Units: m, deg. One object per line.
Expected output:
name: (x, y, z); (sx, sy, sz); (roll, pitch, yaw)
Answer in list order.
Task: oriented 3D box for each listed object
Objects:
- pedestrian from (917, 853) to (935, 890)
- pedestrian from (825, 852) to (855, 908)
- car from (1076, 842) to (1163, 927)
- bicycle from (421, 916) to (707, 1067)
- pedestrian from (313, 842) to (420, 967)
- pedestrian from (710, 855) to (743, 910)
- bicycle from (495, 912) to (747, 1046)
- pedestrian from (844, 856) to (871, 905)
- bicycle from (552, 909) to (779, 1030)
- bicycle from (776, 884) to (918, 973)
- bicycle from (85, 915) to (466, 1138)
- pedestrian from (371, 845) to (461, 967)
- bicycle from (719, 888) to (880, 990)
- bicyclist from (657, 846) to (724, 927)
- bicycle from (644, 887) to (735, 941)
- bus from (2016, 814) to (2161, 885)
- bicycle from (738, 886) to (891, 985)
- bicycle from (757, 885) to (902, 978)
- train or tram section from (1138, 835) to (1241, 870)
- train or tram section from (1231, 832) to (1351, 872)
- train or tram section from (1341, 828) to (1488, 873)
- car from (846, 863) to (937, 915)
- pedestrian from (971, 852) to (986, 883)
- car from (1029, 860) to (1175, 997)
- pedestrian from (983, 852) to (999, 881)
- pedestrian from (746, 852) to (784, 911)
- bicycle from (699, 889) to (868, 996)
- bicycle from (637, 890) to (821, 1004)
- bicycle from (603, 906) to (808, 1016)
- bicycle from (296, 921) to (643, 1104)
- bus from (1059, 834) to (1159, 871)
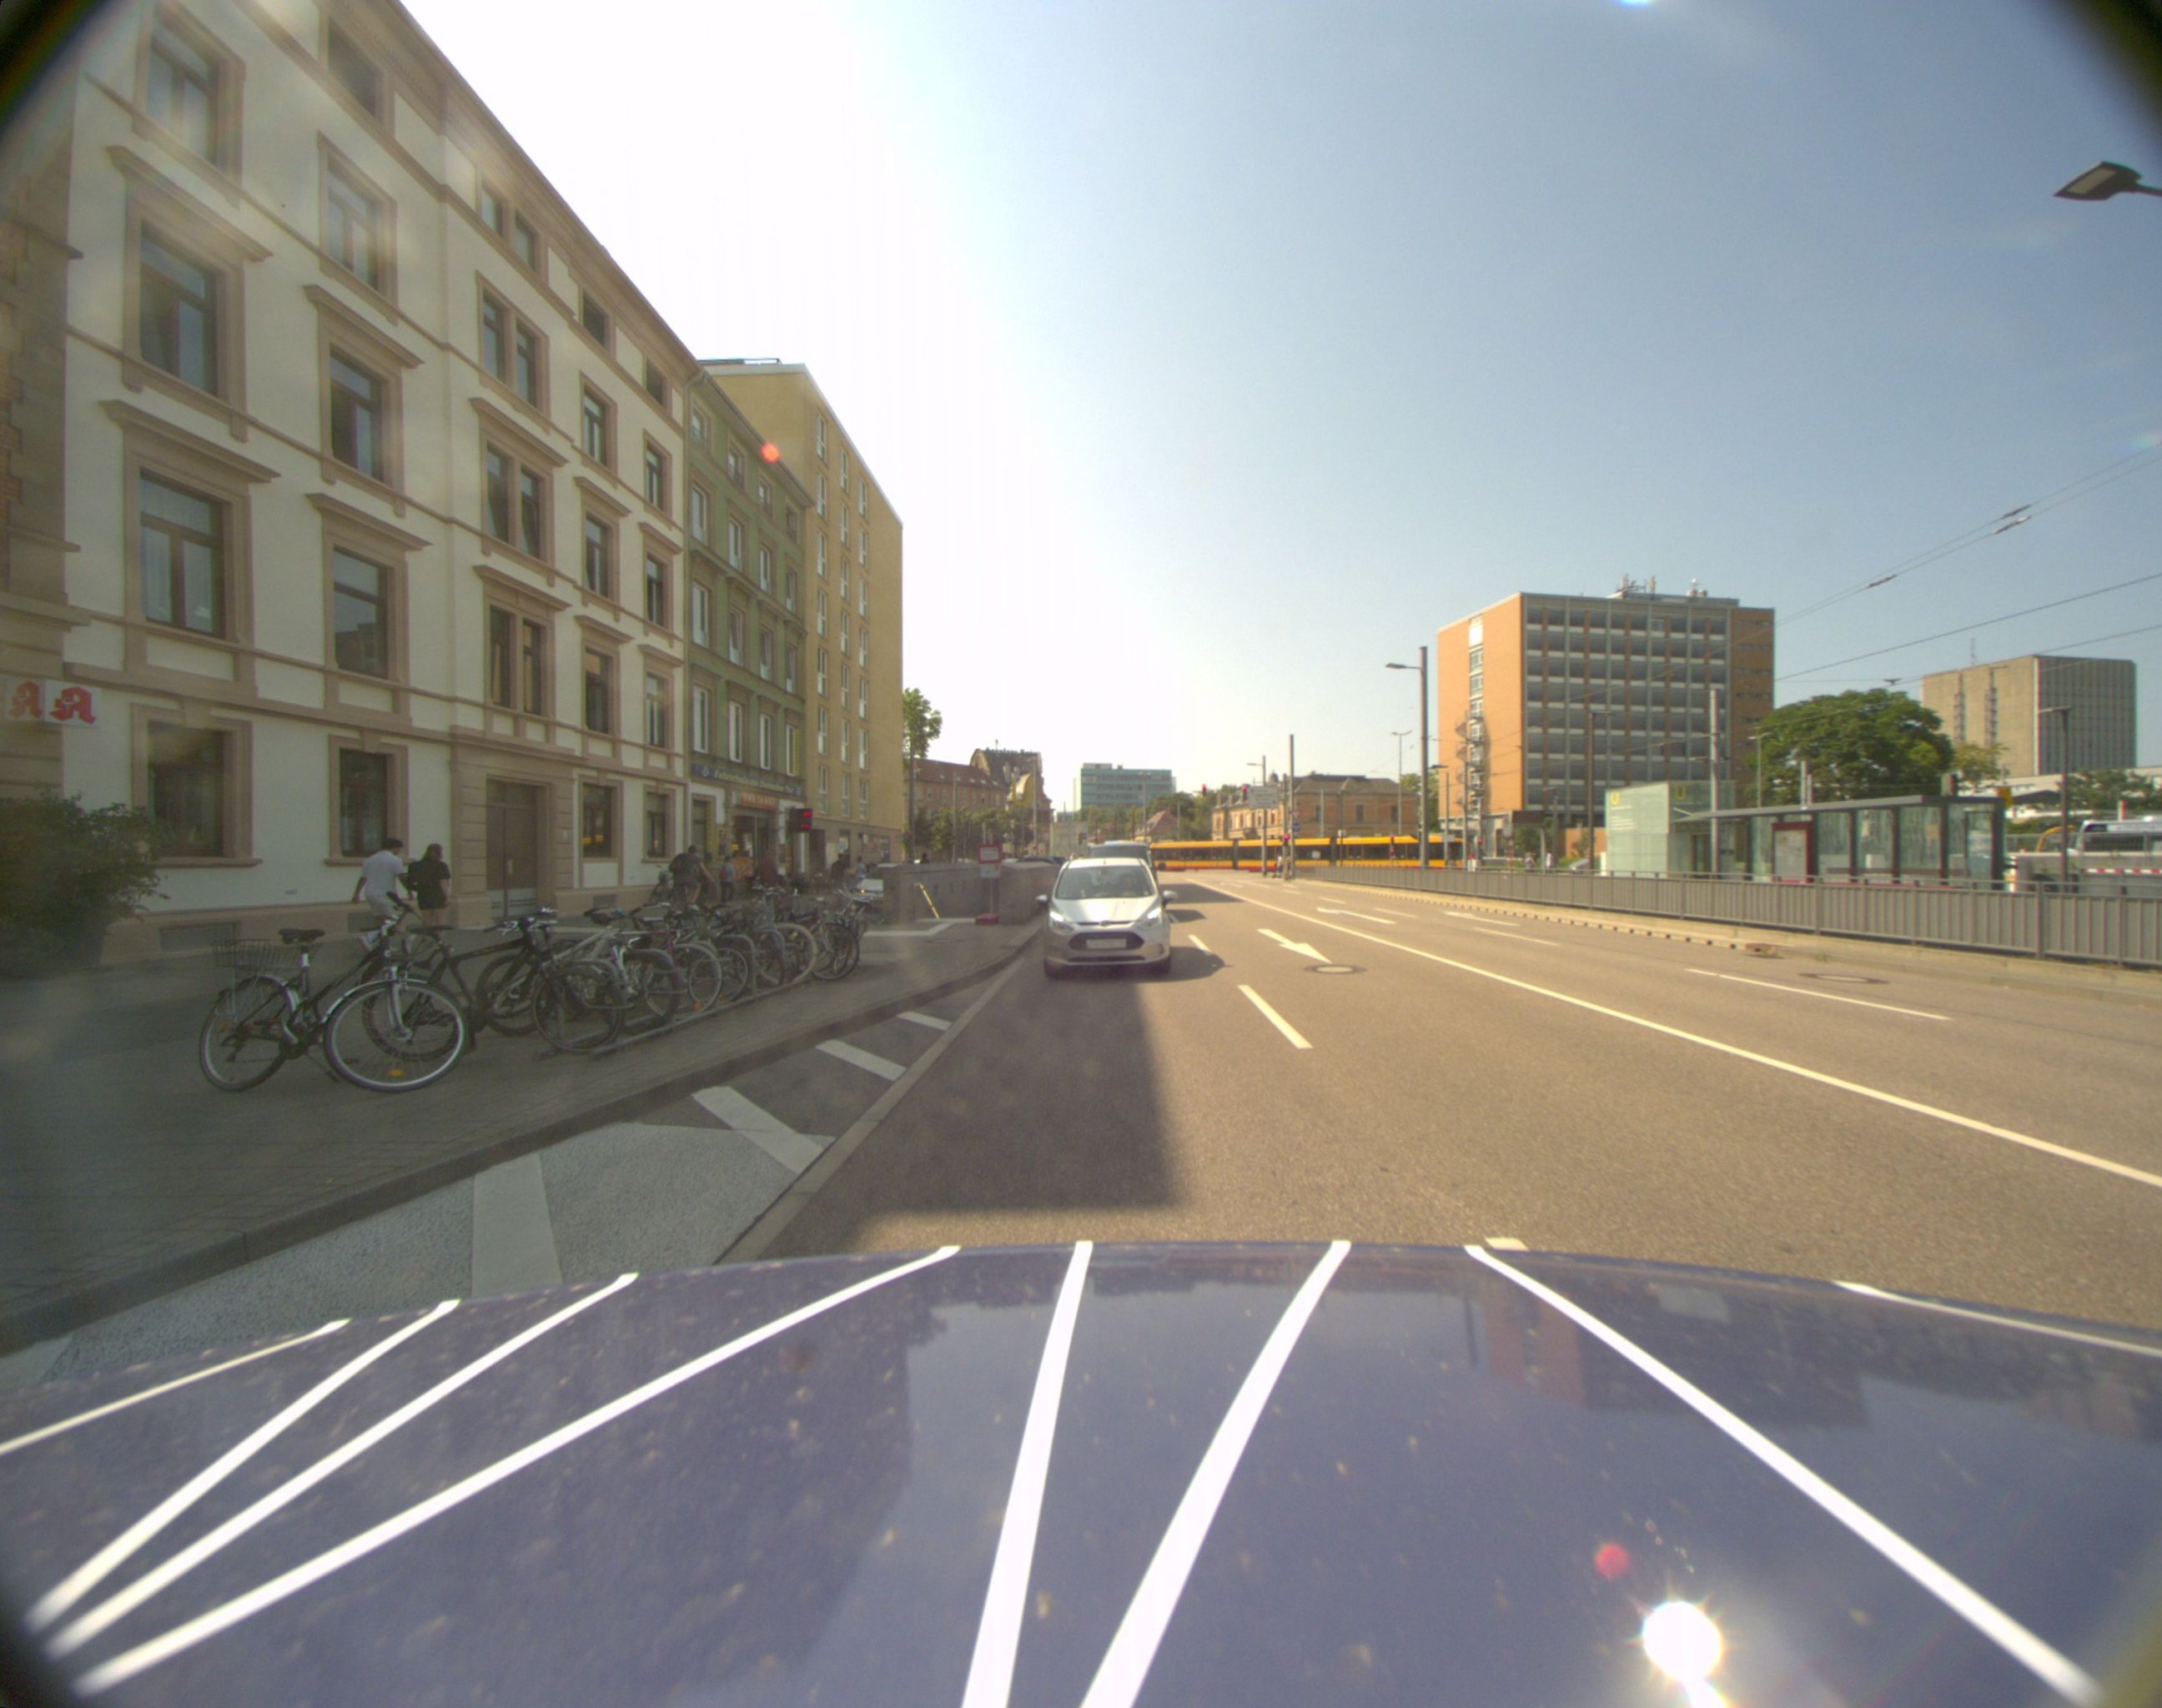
pedestrian: (-7.006, 0.780, 34.386); (0.645, 1.619, 0.796); (1, 1, 0)
pedestrian: (-7.636, 0.822, 24.098); (0.688, 1.748, 0.796); (1, 1, 0)
car: (1.005, 0.710, 20.393); (1.998, 1.953, 4.816); (-2, 0, 2)
bicycle: (-4.094, 1.073, 6.098); (1.841, 1.054, 0.657); (-2, 0, 3)
pedestrian: (-10.654, 0.721, 11.363); (0.727, 1.793, 0.928); (1, 1, -1)
pedestrian: (-10.630, 0.844, 22.806); (0.645, 1.619, 0.796); (1, 1, -2)
bicycle: (-4.063, 1.093, 6.796); (1.841, 1.047, 0.657); (-2, 0, 3)
pedestrian: (-7.544, 0.898, 25.669); (0.645, 1.619, 0.797); (1, 1, 5)
bicycle: (-4.037, 1.113, 7.462); (1.841, 1.054, 0.657); (-2, 0, 3)
bicycle: (-3.396, 1.080, 11.133); (1.841, 1.196, 0.637); (-2, 0, 3)
bicycle: (-4.842, 1.010, 4.638); (1.607, 1.178, 0.690); (-2, 0, 3)
pedestrian: (-9.954, 0.760, 11.401); (0.645, 1.761, 0.796); (1, 1, -2)
bicycle: (-3.532, 1.064, 9.596); (1.841, 1.196, 0.435); (-2, 1, 3)
bicyclist: (-7.920, 0.638, 15.450); (0.721, 1.577, 1.103); (-1, 0, 3)
bicycle: (-7.909, 1.191, 15.462); (0.721, 0.948, 2.001); (-1, 0, 3)
bus: (52.790, -0.314, 34.088); (3.357, 3.275, 13.371); (-3, 0, -44)
bicycle: (-3.509, 1.069, 10.057); (1.841, 1.212, 0.435); (-2, 1, 3)
bicycle: (-3.471, 1.070, 10.535); (1.841, 1.196, 0.435); (-2, 1, 3)
train or tram section: (12.024, -0.122, 85.609); (12.331, 3.743, 2.004); (0, 0, 41)
train or tram section: (21.096, -0.193, 77.239); (12.331, 3.743, 2.004); (0, 0, 44)
train or tram section: (29.688, -0.252, 68.490); (2.004, 3.743, 12.332); (-1, 0, -44)
car: (-5.927, 1.054, 24.205); (1.666, 1.418, 3.935); (2, 0, 3)
pedestrian: (-5.411, 0.723, 40.141); (0.645, 1.619, 0.797); (1, 1, 4)
car: (0.346, 0.933, 11.325); (1.728, 1.579, 4.001); (-3, 0, 3)
pedestrian: (-5.185, 0.722, 43.806); (0.644, 1.619, 0.798); (1, 1, 18)
pedestrian: (-9.387, 0.813, 22.618); (0.772, 1.724, 0.881); (1, 1, -2)
bicycle: (-3.568, 1.058, 9.161); (1.841, 1.196, 0.435); (-2, 1, 3)
bicycle: (-4.031, 1.055, 8.772); (1.841, 1.196, 0.549); (-2, 1, 3)
bicycle: (-3.991, 1.126, 8.152); (1.841, 1.050, 0.657); (-2, 0, 3)
bicycle: (-4.131, 1.054, 5.224); (1.807, 1.069, 0.699); (-2, 0, 2)
bus: (2.343, -0.027, 72.335); (2.926, 3.119, 12.315); (-3, 0, -32)
